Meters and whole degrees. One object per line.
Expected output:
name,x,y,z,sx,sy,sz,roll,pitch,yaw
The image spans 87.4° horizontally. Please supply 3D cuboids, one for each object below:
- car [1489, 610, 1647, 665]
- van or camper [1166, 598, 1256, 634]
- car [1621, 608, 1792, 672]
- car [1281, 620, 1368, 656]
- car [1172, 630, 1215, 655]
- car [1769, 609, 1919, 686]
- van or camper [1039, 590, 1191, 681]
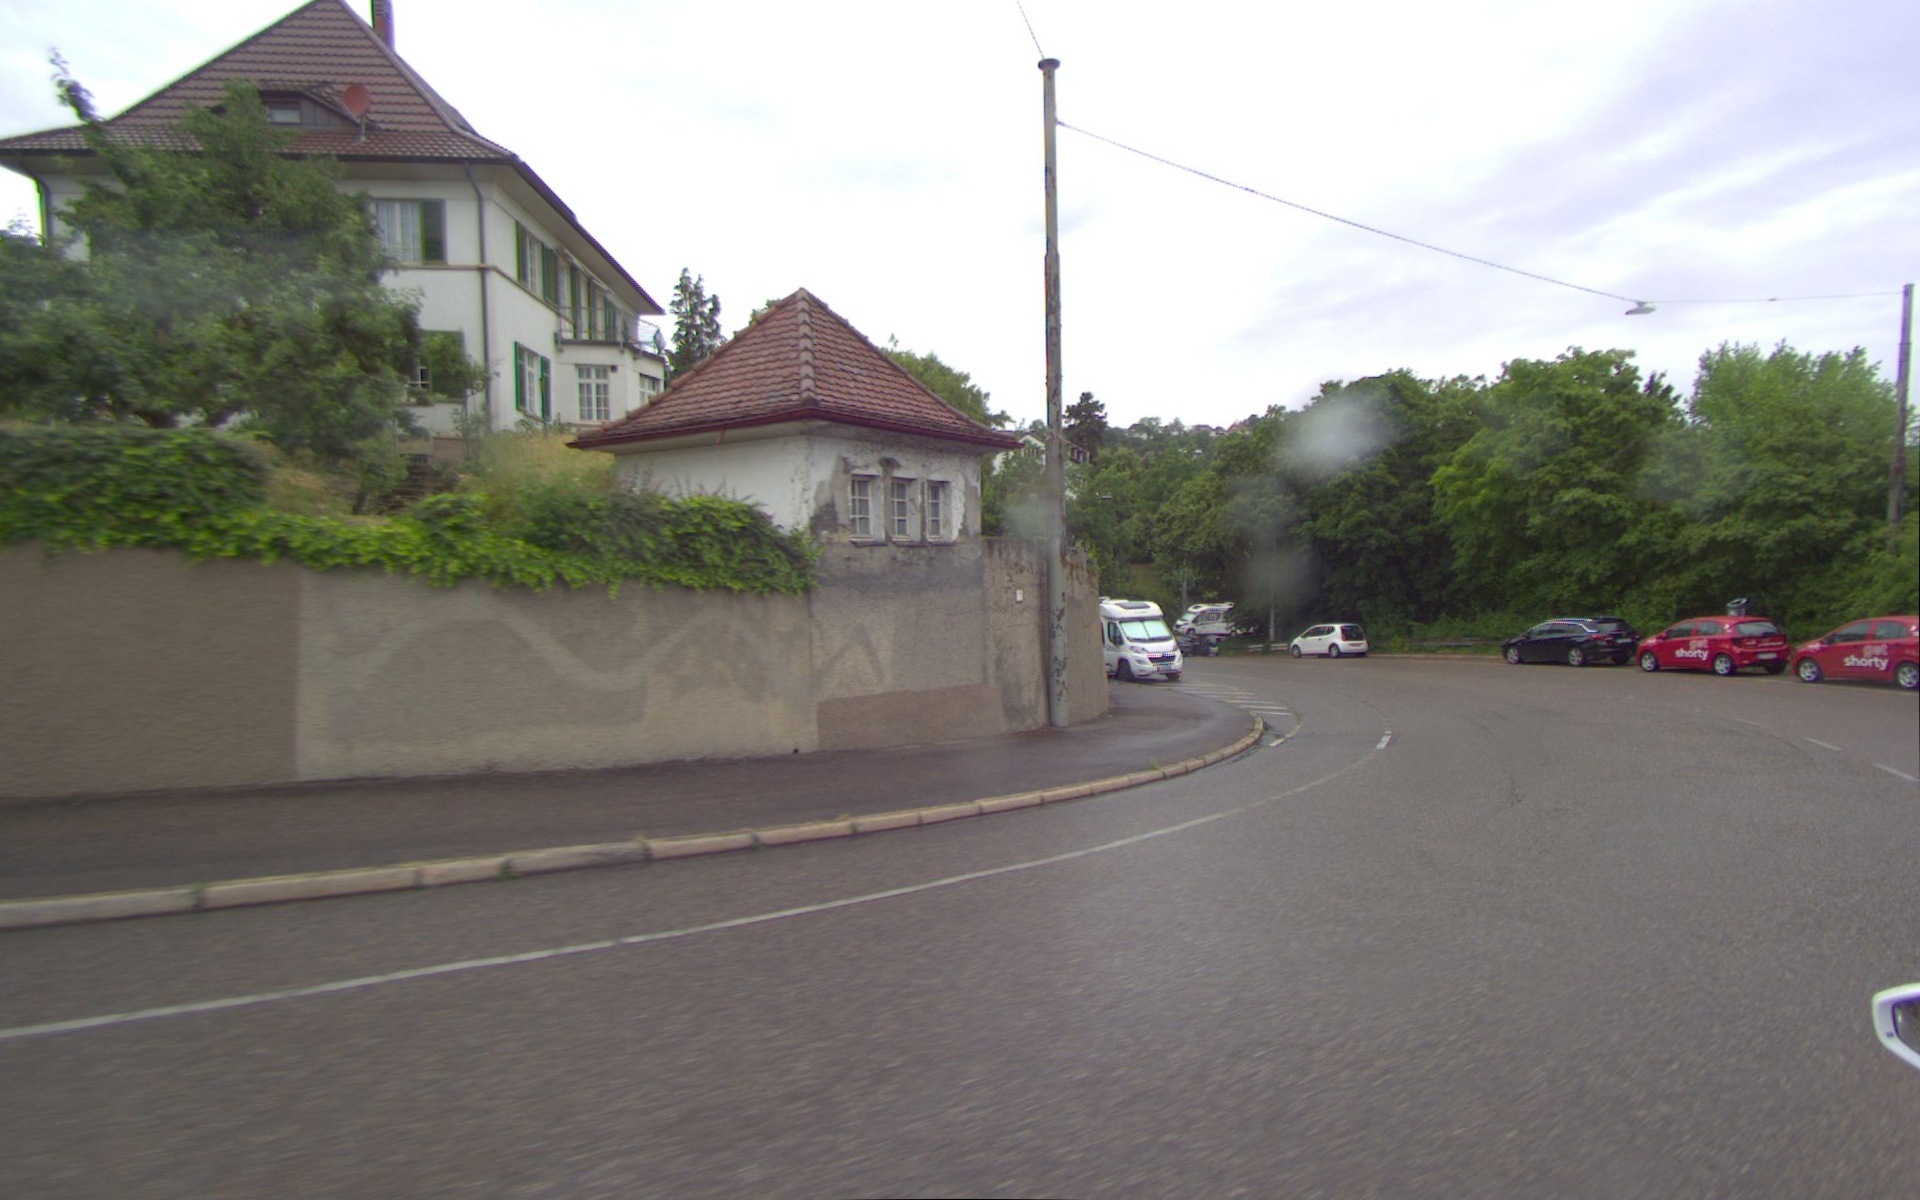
car,19.239,1.156,32.054,1.693,1.533,4.587,-2,-1,-10
van or camper,22.331,1.419,89.357,7.536,2.973,2.193,1,4,-16
car,19.890,1.024,26.959,1.534,1.533,3.672,-2,0,-7
car,16.003,1.684,44.306,1.567,1.521,3.649,0,-2,-22
car,15.852,2.837,68.010,1.625,1.484,4.025,5,1,31
car,20.040,0.983,21.896,1.614,1.480,3.806,-3,-1,-2
van or camper,5.324,1.178,35.903,2.130,2.826,7.017,-3,0,-20
